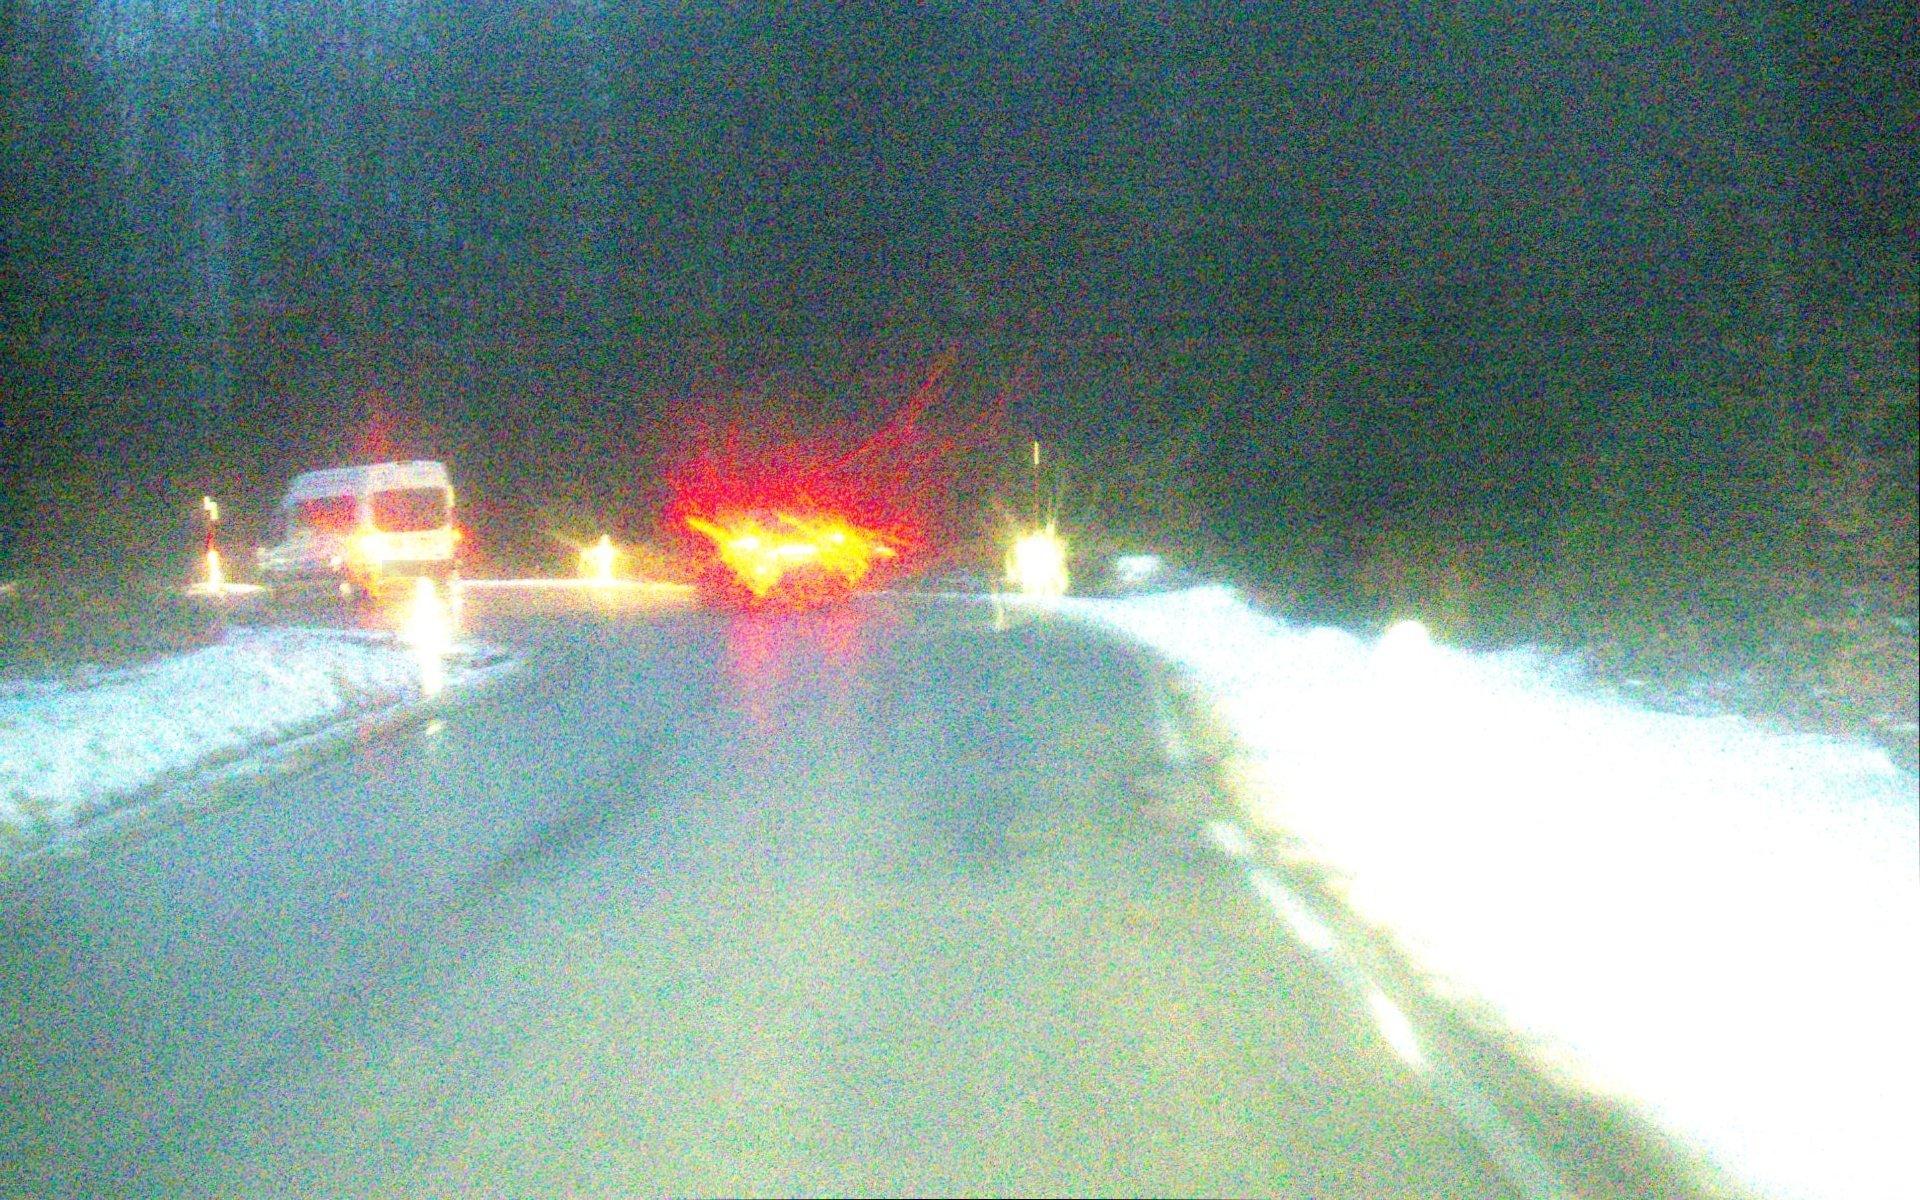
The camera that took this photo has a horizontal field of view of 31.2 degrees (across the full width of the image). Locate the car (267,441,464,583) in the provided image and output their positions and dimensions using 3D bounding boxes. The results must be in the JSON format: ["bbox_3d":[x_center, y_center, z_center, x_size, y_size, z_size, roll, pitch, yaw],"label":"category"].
[{"bbox_3d":[-11.843,-1.726,68.212,2.252,2.636,5.007,-3,2,-28],"label":"car"}]

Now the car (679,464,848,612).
[{"bbox_3d":[-2.937,-0.932,50.624,1.993,2.044,4.001,-2,2,-10],"label":"car"}]
